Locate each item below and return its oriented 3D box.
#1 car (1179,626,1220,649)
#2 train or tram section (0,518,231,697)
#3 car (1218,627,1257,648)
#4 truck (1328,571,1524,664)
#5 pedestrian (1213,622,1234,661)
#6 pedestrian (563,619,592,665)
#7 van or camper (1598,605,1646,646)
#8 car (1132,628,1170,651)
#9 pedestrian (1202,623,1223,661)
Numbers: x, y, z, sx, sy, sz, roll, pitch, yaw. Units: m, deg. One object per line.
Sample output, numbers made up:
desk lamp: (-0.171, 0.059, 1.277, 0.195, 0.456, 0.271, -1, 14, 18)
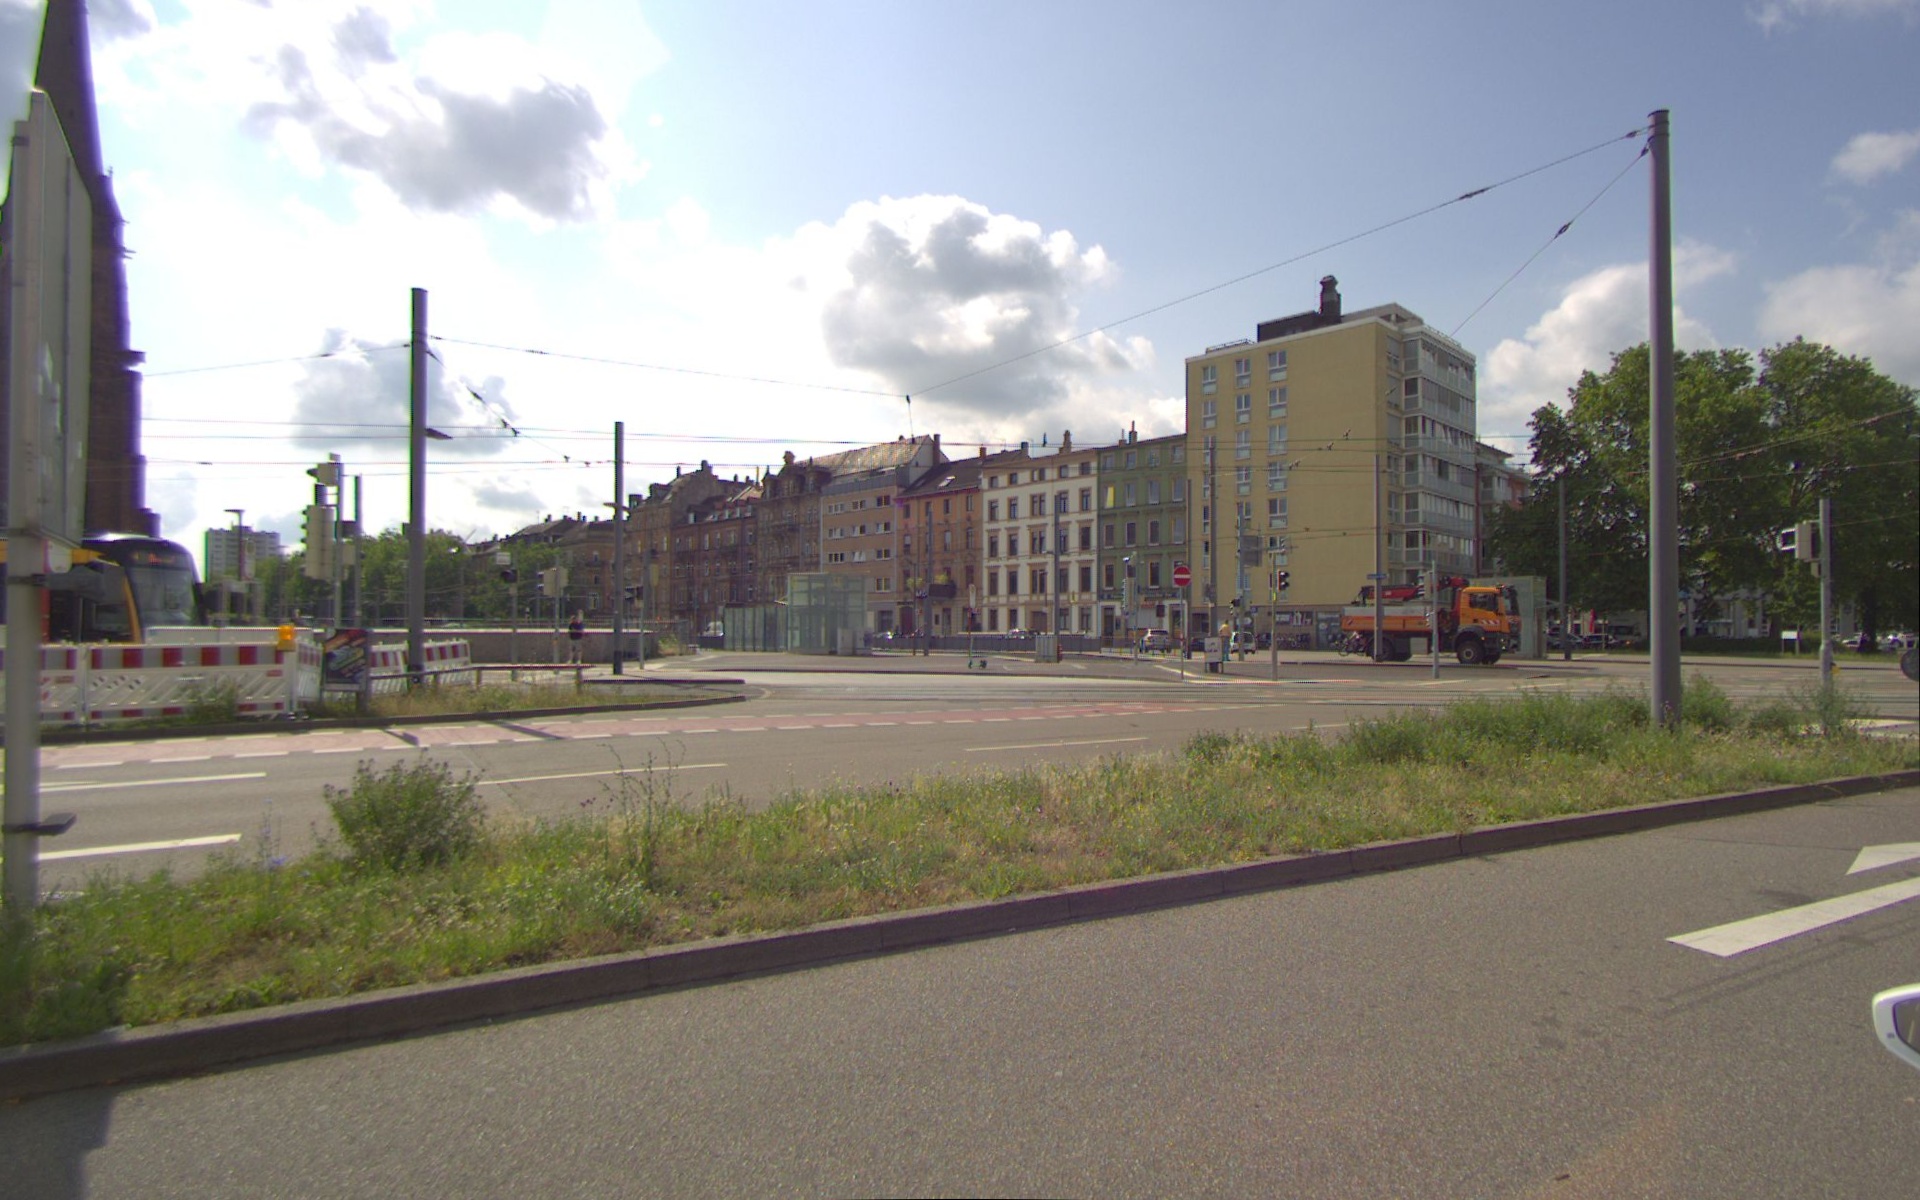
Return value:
car: (16.147, 2.519, 67.945, 1.834, 1.455, 4.006, 0, -2, 1)
train or tram section: (-22.831, 0.156, 21.600, 12.169, 3.619, 2.668, 0, -1, -1)
car: (18.530, 2.496, 67.217, 1.664, 1.368, 3.678, 0, -2, 1)
truck: (20.975, 0.845, 45.631, 7.831, 3.907, 2.187, -1, -2, 44)
pedestrian: (13.002, 2.055, 49.513, 0.772, 1.893, 0.647, 1, -1, -29)
pedestrian: (-15.405, 1.697, 40.466, 0.789, 1.820, 0.965, 0, -1, -4)
van or camper: (49.594, 1.949, 75.157, 2.549, 2.946, 6.075, -1, -2, 38)
car: (13.410, 2.764, 70.785, 1.665, 1.520, 3.674, 0, -2, -6)
pedestrian: (12.606, 2.073, 50.156, 0.809, 1.884, 0.695, 1, -1, -30)
